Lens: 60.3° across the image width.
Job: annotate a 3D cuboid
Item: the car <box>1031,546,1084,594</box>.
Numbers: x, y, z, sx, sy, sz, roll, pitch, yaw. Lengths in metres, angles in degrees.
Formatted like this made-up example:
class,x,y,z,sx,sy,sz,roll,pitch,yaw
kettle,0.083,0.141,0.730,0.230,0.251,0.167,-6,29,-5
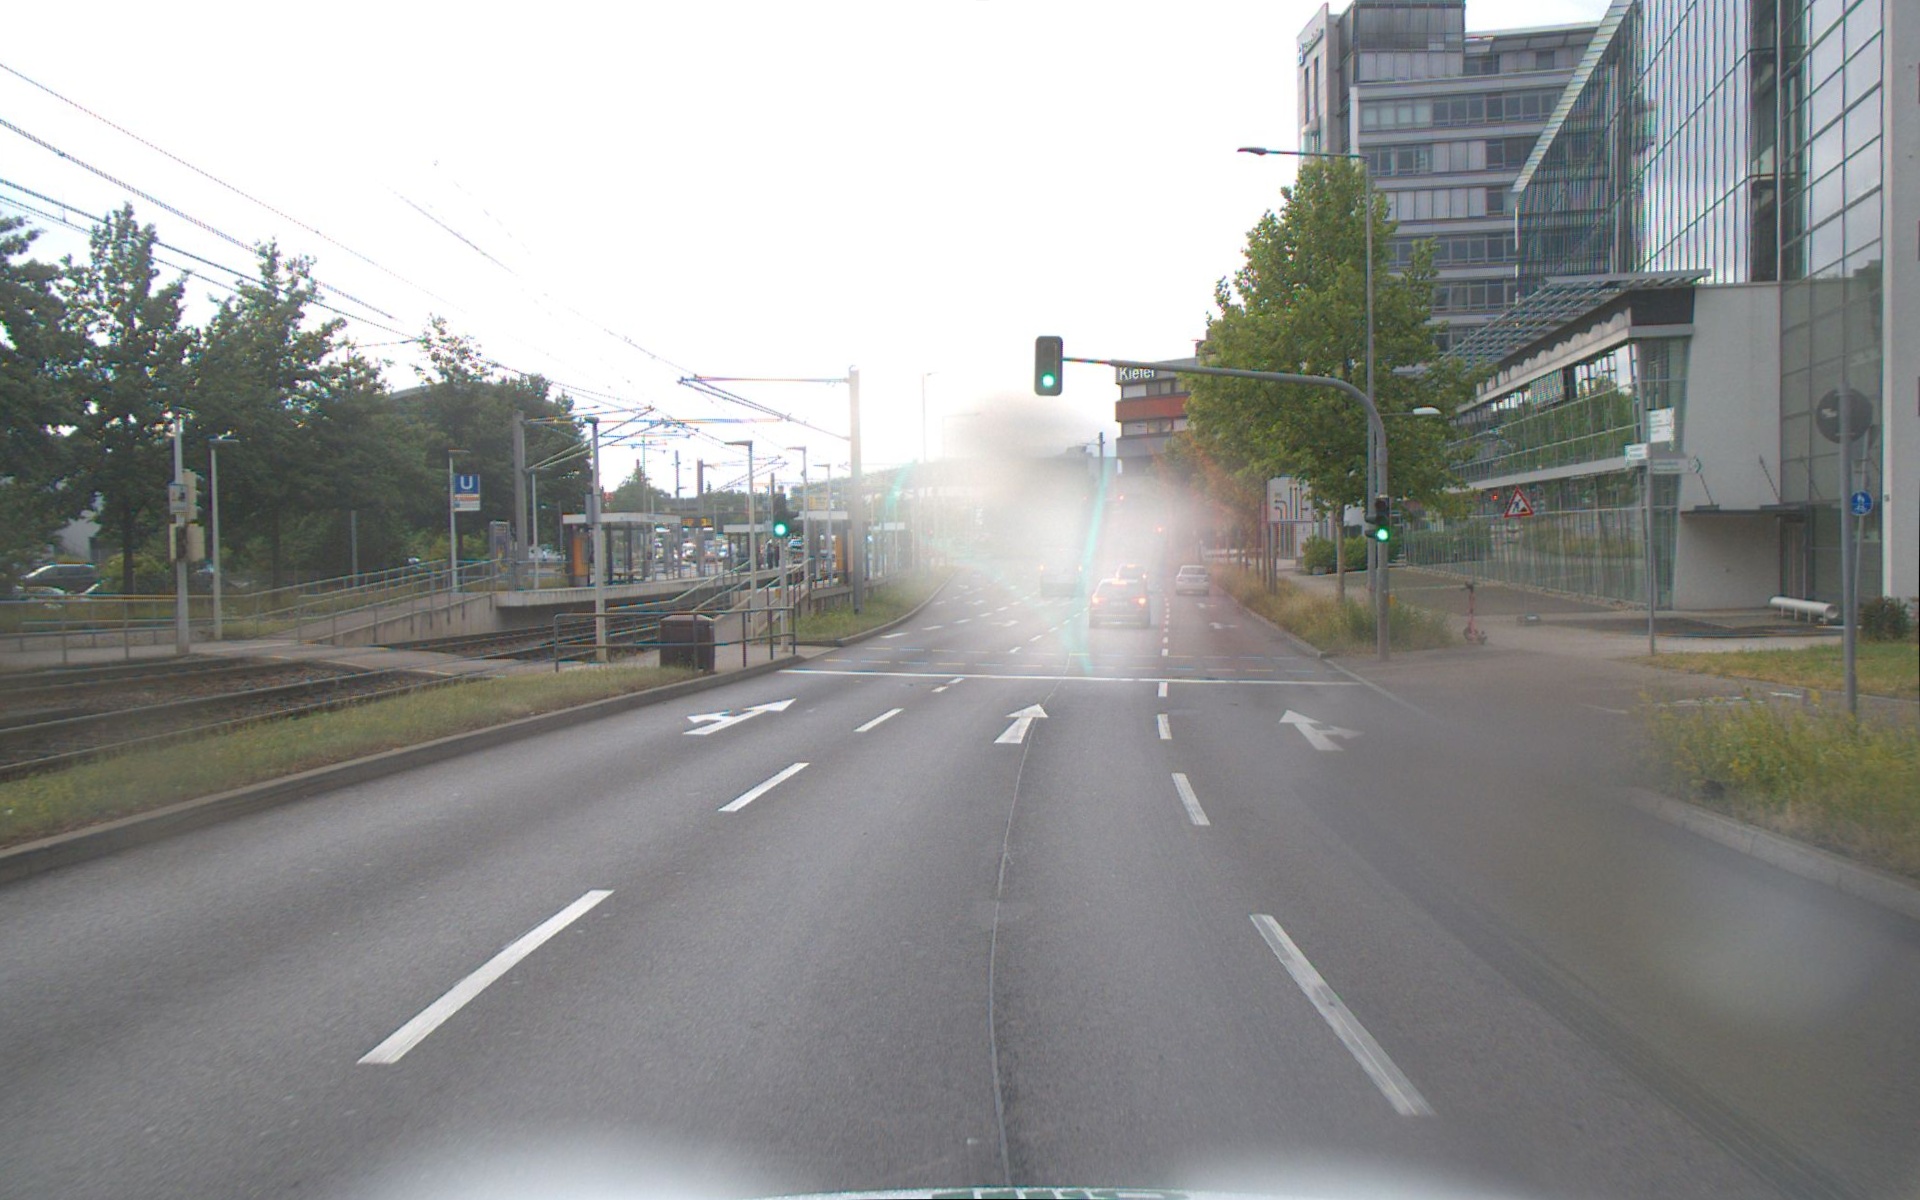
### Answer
class,x,y,z,sx,sy,sz,roll,pitch,yaw
car,4.713,-1.484,79.713,2.458,2.215,5.153,0,2,4

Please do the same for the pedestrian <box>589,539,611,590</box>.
class,x,y,z,sx,sy,sz,roll,pitch,yaw
pedestrian,-13.558,-1.321,62.251,0.624,1.887,0.751,0,-1,2

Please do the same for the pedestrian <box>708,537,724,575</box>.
class,x,y,z,sx,sy,sz,roll,pitch,yaw
pedestrian,-13.546,-2.408,91.712,0.839,2.049,1.039,1,-1,-7

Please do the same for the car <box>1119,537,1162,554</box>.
class,x,y,z,sx,sy,sz,roll,pitch,yaw
car,18.575,-5.593,170.543,2.007,1.651,4.267,-1,2,-38

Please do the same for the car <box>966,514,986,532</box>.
class,x,y,z,sx,sy,sz,roll,pitch,yaw
car,2.024,-9.956,213.003,1.956,2.049,3.992,0,-1,-9

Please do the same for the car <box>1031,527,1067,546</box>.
class,x,y,z,sx,sy,sz,roll,pitch,yaw
car,9.921,-7.057,184.387,1.980,2.048,3.946,1,1,-38

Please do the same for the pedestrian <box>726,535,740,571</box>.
class,x,y,z,sx,sy,sz,roll,pitch,yaw
pedestrian,-13.250,-2.743,96.513,0.674,2.116,0.715,0,2,7

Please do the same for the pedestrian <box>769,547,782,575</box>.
class,x,y,z,sx,sy,sz,roll,pitch,yaw
pedestrian,-11.468,-2.431,102.850,0.714,1.745,0.832,0,0,3

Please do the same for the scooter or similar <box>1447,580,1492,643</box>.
class,x,y,z,sx,sy,sz,roll,pitch,yaw
scooter or similar,10.669,0.227,34.658,0.448,1.285,1.337,-3,1,-1

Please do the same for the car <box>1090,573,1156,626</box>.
class,x,y,z,sx,sy,sz,roll,pitch,yaw
car,4.917,-0.063,49.453,1.726,1.489,4.631,0,1,9

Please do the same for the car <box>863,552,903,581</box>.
class,x,y,z,sx,sy,sz,roll,pitch,yaw
car,-4.408,-1.949,95.488,1.952,1.477,3.851,0,5,2

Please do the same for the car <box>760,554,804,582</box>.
class,x,y,z,sx,sy,sz,roll,pitch,yaw
car,-9.301,-1.681,86.586,1.820,1.359,3.336,0,3,2

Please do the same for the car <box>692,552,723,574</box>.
class,x,y,z,sx,sy,sz,roll,pitch,yaw
car,-26.011,-3.775,170.327,1.971,2.049,3.961,1,-1,-29

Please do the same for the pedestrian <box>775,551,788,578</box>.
class,x,y,z,sx,sy,sz,roll,pitch,yaw
pedestrian,-11.788,-2.357,109.209,0.736,1.782,0.764,0,-1,3

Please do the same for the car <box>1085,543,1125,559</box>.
class,x,y,z,sx,sy,sz,roll,pitch,yaw
car,15.297,-5.189,174.562,2.007,1.651,3.946,-1,2,-38

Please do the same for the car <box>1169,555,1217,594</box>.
class,x,y,z,sx,sy,sz,roll,pitch,yaw
car,11.625,-1.305,82.711,1.979,1.800,4.002,0,2,2

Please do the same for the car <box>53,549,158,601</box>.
class,x,y,z,sx,sy,sz,roll,pitch,yaw
car,-34.827,-0.989,67.507,1.951,2.049,4.002,0,-1,5

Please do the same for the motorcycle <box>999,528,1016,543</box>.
class,x,y,z,sx,sy,sz,roll,pitch,yaw
motorcycle,7.236,-9.849,252.374,1.956,2.049,3.992,1,-1,-8

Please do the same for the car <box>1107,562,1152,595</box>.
class,x,y,z,sx,sy,sz,roll,pitch,yaw
car,8.766,-1.118,85.908,1.979,1.651,4.001,0,1,1

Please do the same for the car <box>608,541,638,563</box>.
class,x,y,z,sx,sy,sz,roll,pitch,yaw
car,-35.612,-5.044,174.805,1.971,2.049,3.961,1,-1,-29

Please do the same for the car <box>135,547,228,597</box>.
class,x,y,z,sx,sy,sz,roll,pitch,yaw
car,-34.219,-1.203,72.804,1.951,2.049,4.002,0,-1,5

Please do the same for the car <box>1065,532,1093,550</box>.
class,x,y,z,sx,sy,sz,roll,pitch,yaw
car,14.854,-7.359,207.176,1.966,2.049,3.973,1,-1,-22

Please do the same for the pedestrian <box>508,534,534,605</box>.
class,x,y,z,sx,sy,sz,roll,pitch,yaw
pedestrian,-12.497,-0.866,47.089,0.538,1.987,0.663,0,-1,-2

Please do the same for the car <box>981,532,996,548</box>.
class,x,y,z,sx,sy,sz,roll,pitch,yaw
car,3.934,-8.323,228.579,1.781,2.049,3.468,0,-1,-3
